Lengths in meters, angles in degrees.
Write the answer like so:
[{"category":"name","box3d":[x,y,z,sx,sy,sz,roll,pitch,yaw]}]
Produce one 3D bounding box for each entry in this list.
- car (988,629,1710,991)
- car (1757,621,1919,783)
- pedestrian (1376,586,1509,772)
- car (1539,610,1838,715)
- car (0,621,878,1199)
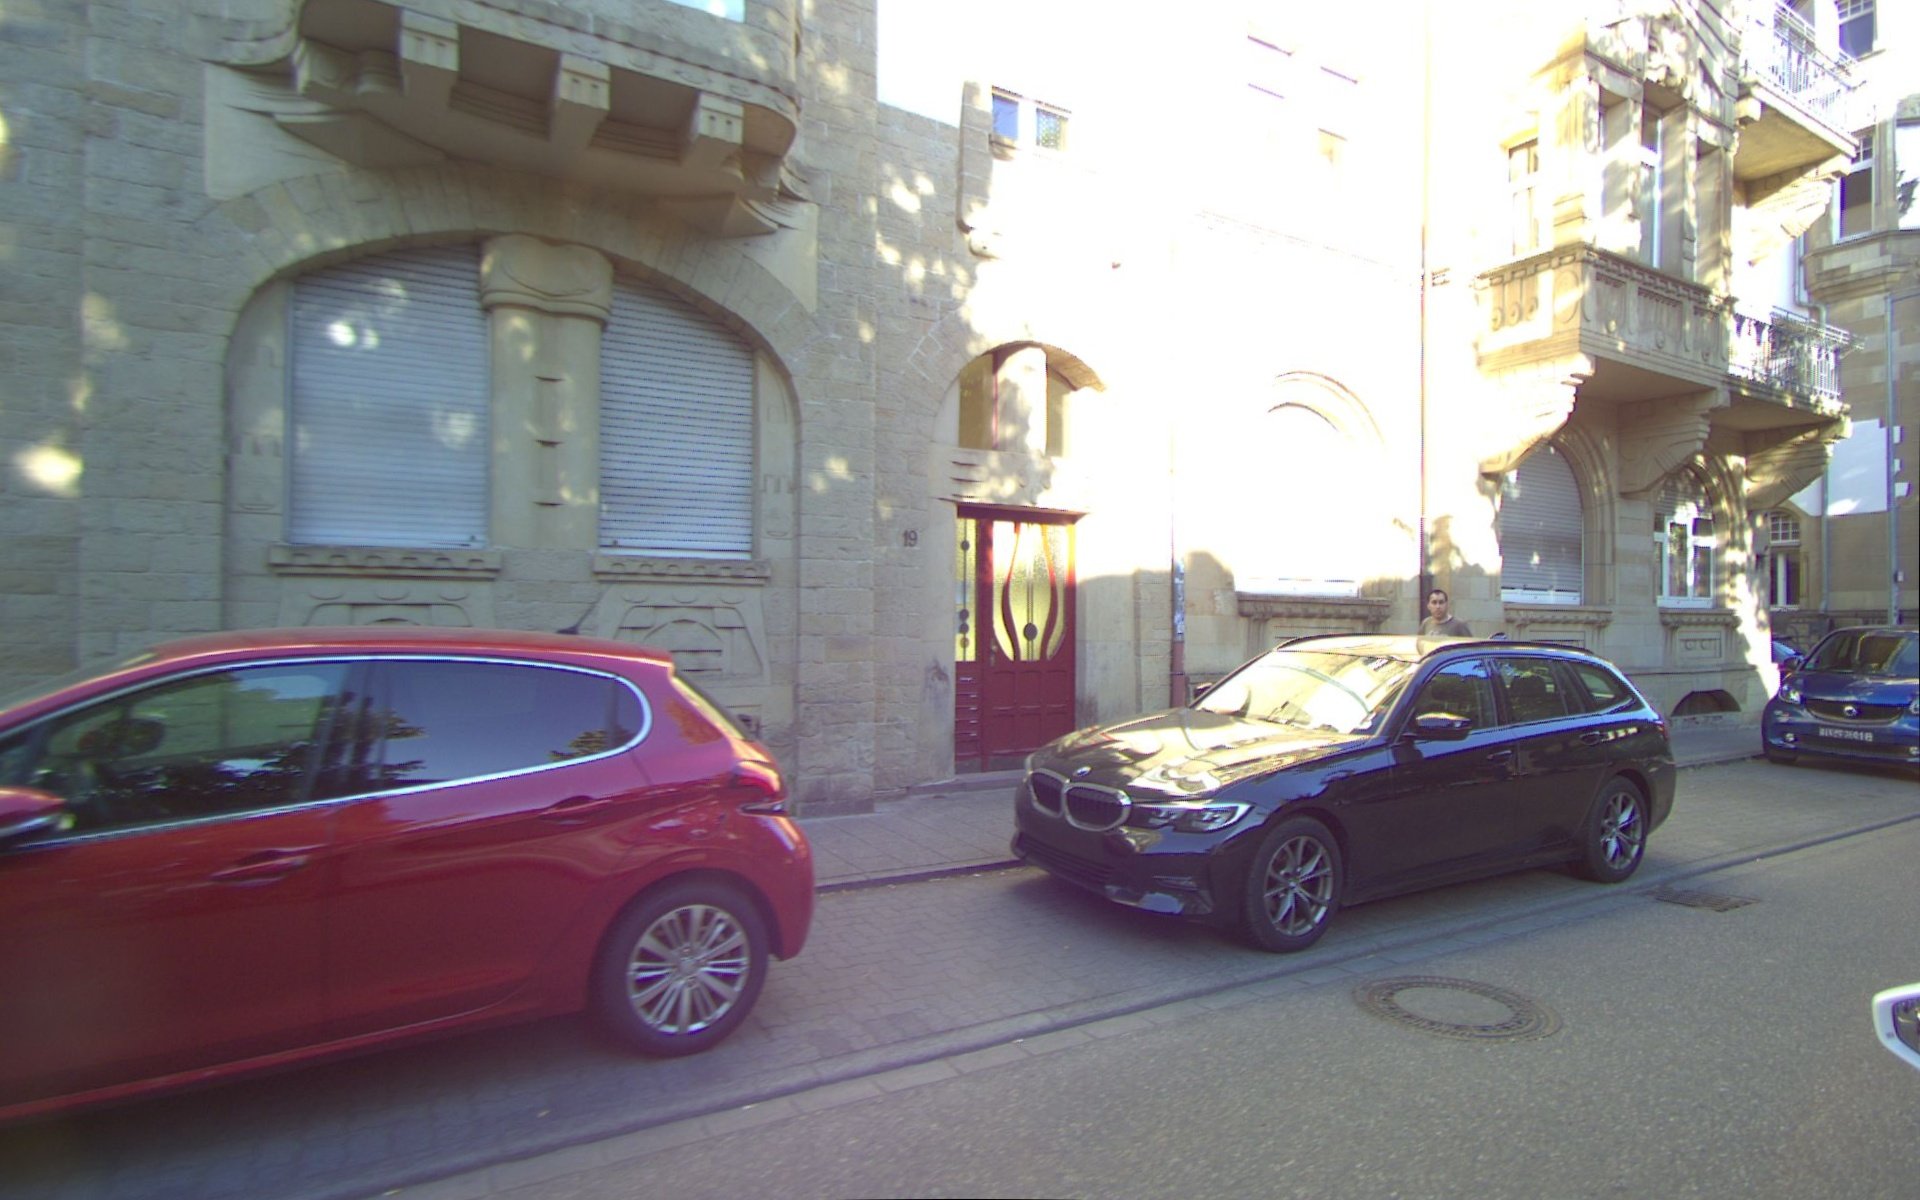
[{"category":"car","box3d":[2.520,0.952,6.146,4.496,1.449,1.667,1,1,-30]},{"category":"car","box3d":[10.291,1.031,10.999,2.706,1.509,1.587,0,2,-32]},{"category":"pedestrian","box3d":[4.832,0.758,10.095,0.726,1.765,0.934,2,0,-30]},{"category":"car","box3d":[13.254,1.046,18.554,1.699,1.690,4.178,1,-1,-31]},{"category":"car","box3d":[-2.338,0.824,3.495,3.796,1.473,1.619,1,0,-33]}]
